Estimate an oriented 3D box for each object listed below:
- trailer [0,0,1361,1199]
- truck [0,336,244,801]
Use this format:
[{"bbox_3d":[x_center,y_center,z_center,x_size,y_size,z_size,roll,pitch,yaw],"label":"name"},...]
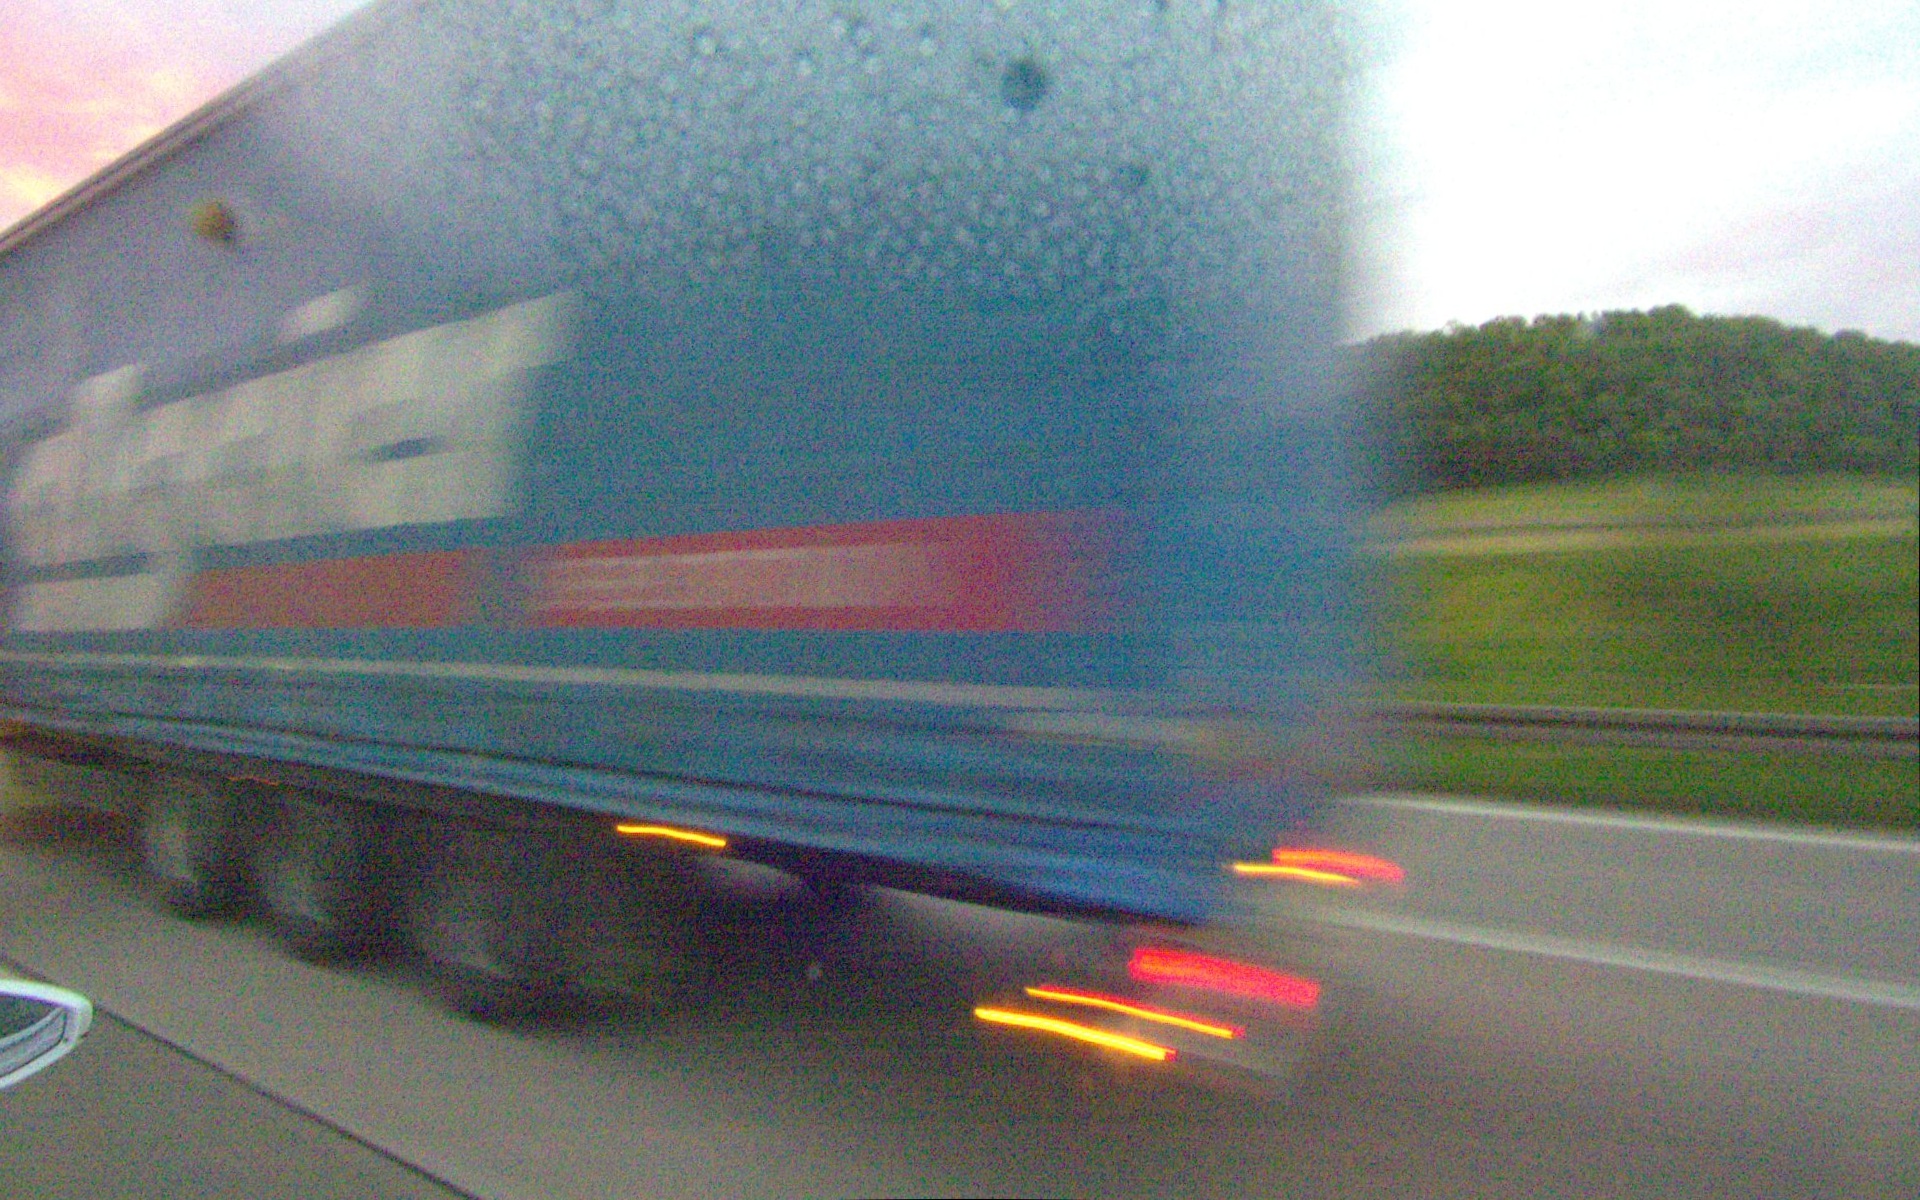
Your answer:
[{"bbox_3d":[-4.643,-0.374,6.956,13.544,4.139,2.766,-1,-1,33],"label":"trailer"},{"bbox_3d":[-10.500,-0.221,10.738,5.768,4.048,2.731,-1,-1,33],"label":"truck"}]
